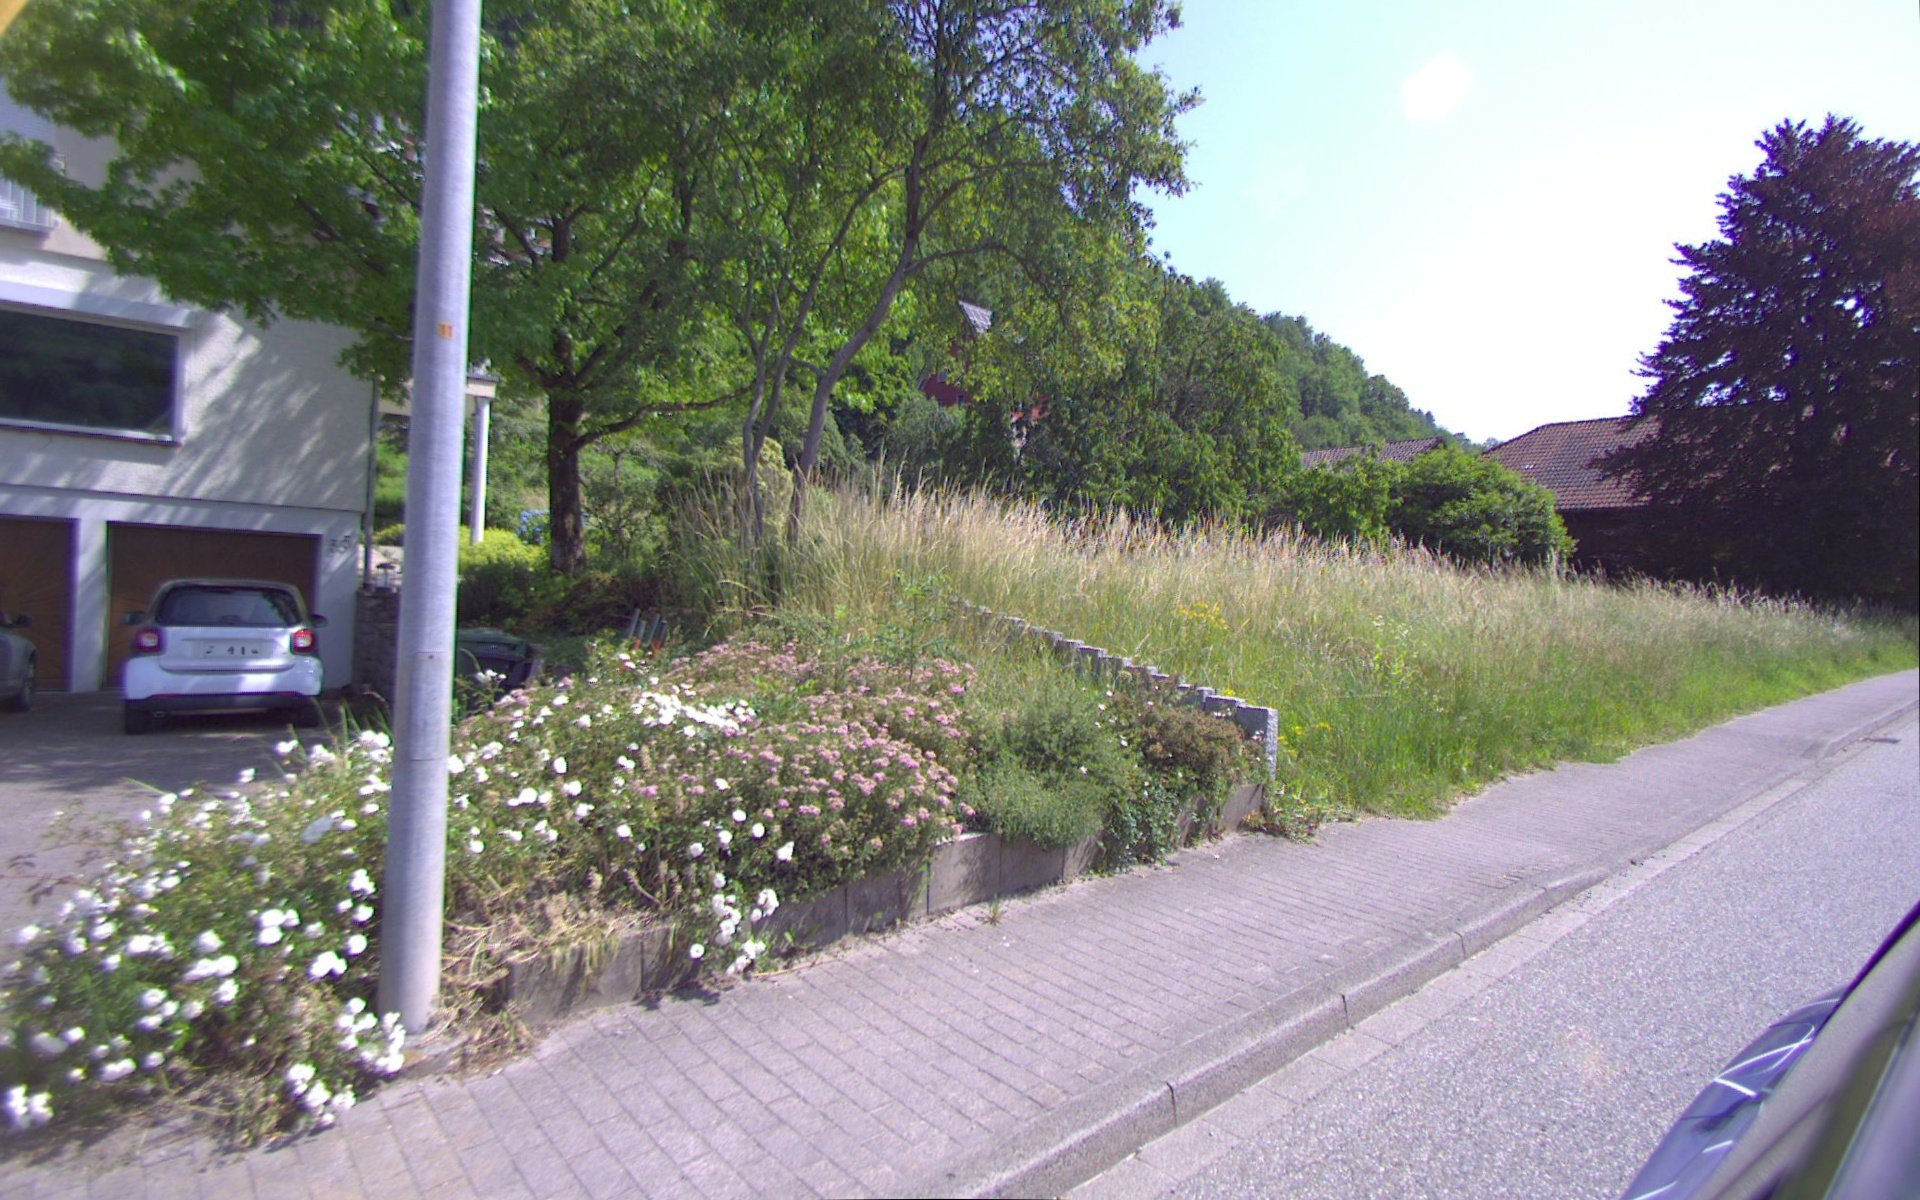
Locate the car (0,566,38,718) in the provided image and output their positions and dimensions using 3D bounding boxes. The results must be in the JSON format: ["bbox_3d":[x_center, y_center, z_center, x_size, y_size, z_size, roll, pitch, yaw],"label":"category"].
[{"bbox_3d":[-9.909,0.413,9.166,1.689,1.489,3.748,0,0,-33],"label":"car"}]

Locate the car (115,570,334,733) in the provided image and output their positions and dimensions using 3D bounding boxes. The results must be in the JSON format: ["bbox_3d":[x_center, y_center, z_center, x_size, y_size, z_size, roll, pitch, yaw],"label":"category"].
[{"bbox_3d":[-8.124,0.459,11.278,1.721,1.516,3.229,1,1,-36],"label":"car"}]
